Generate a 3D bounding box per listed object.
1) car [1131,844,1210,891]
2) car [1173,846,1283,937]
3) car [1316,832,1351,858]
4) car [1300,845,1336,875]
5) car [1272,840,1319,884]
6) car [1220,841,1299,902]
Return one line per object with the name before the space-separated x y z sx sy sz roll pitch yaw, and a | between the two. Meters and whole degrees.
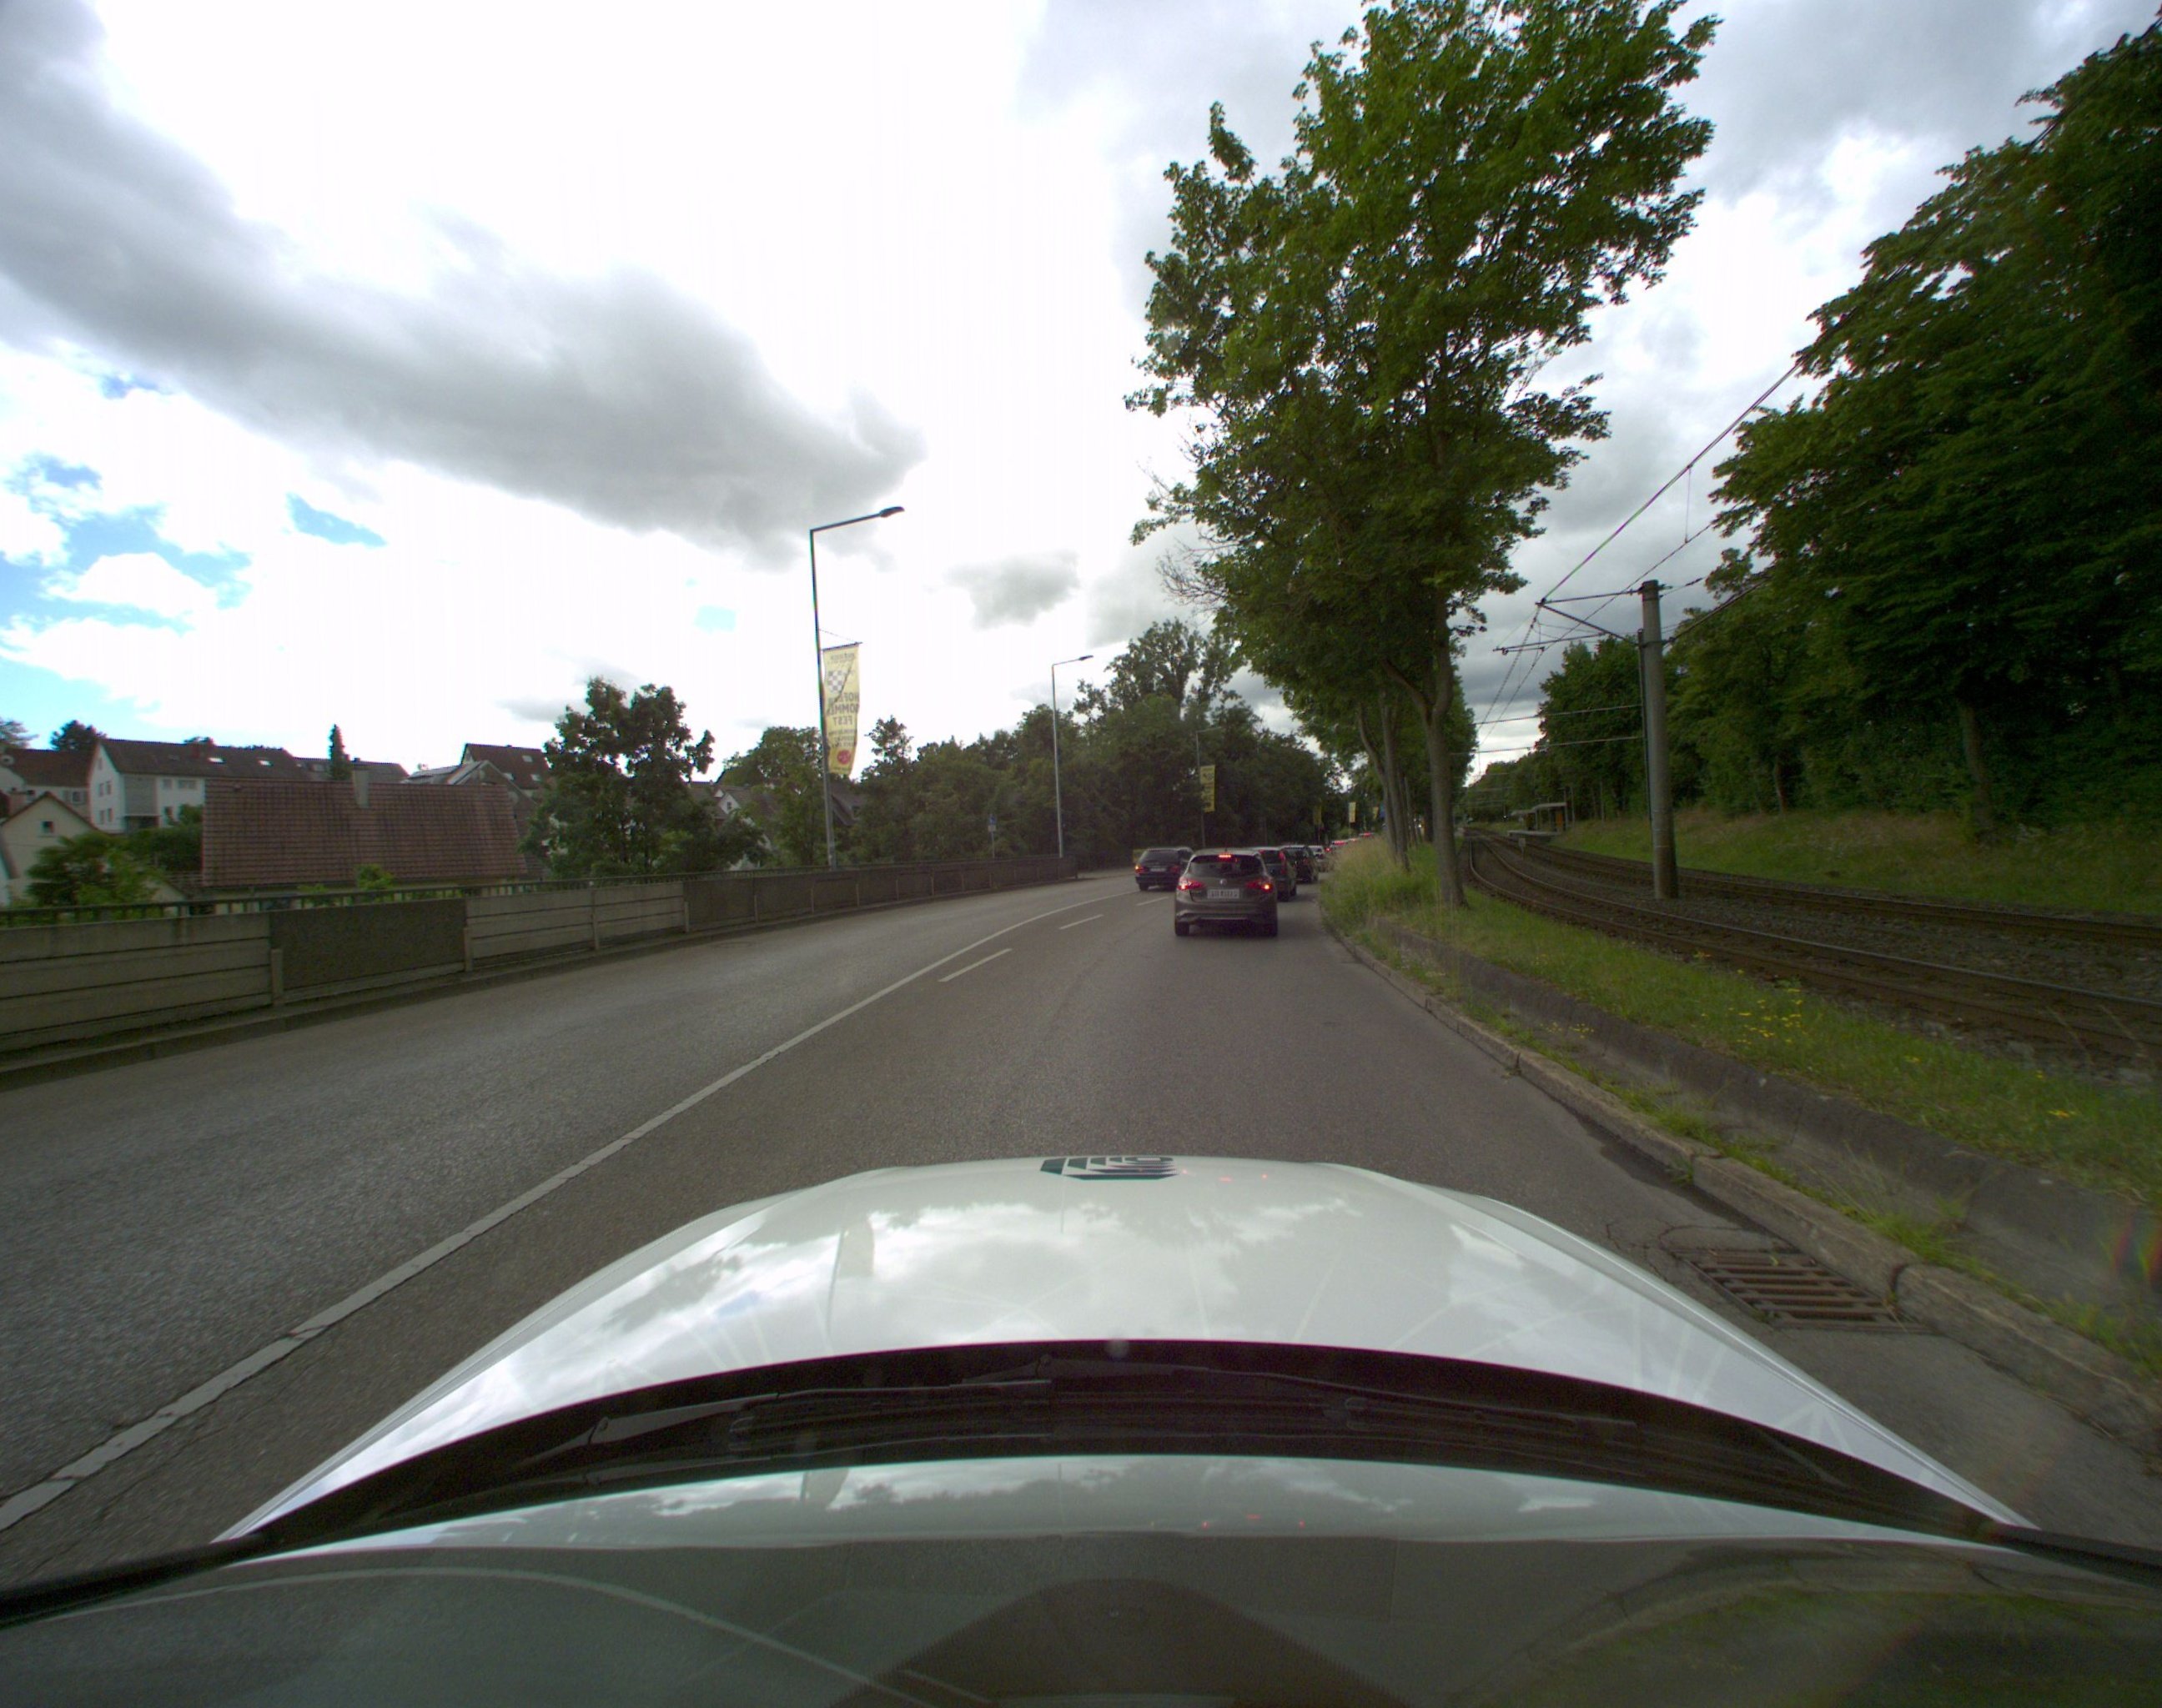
car | 3.209 0.432 28.428 1.836 1.486 4.442 0 0 19
car | 2.834 0.631 15.417 1.763 1.494 4.013 -1 0 12
car | 15.973 -0.550 51.435 1.789 1.540 4.021 -1 0 21
car | 11.952 0.264 41.003 1.488 1.364 3.605 -3 -1 19
car | 8.278 0.284 31.248 1.566 1.538 4.017 -3 -1 16
car | 5.218 0.472 23.406 1.878 1.574 4.017 -2 -1 16
